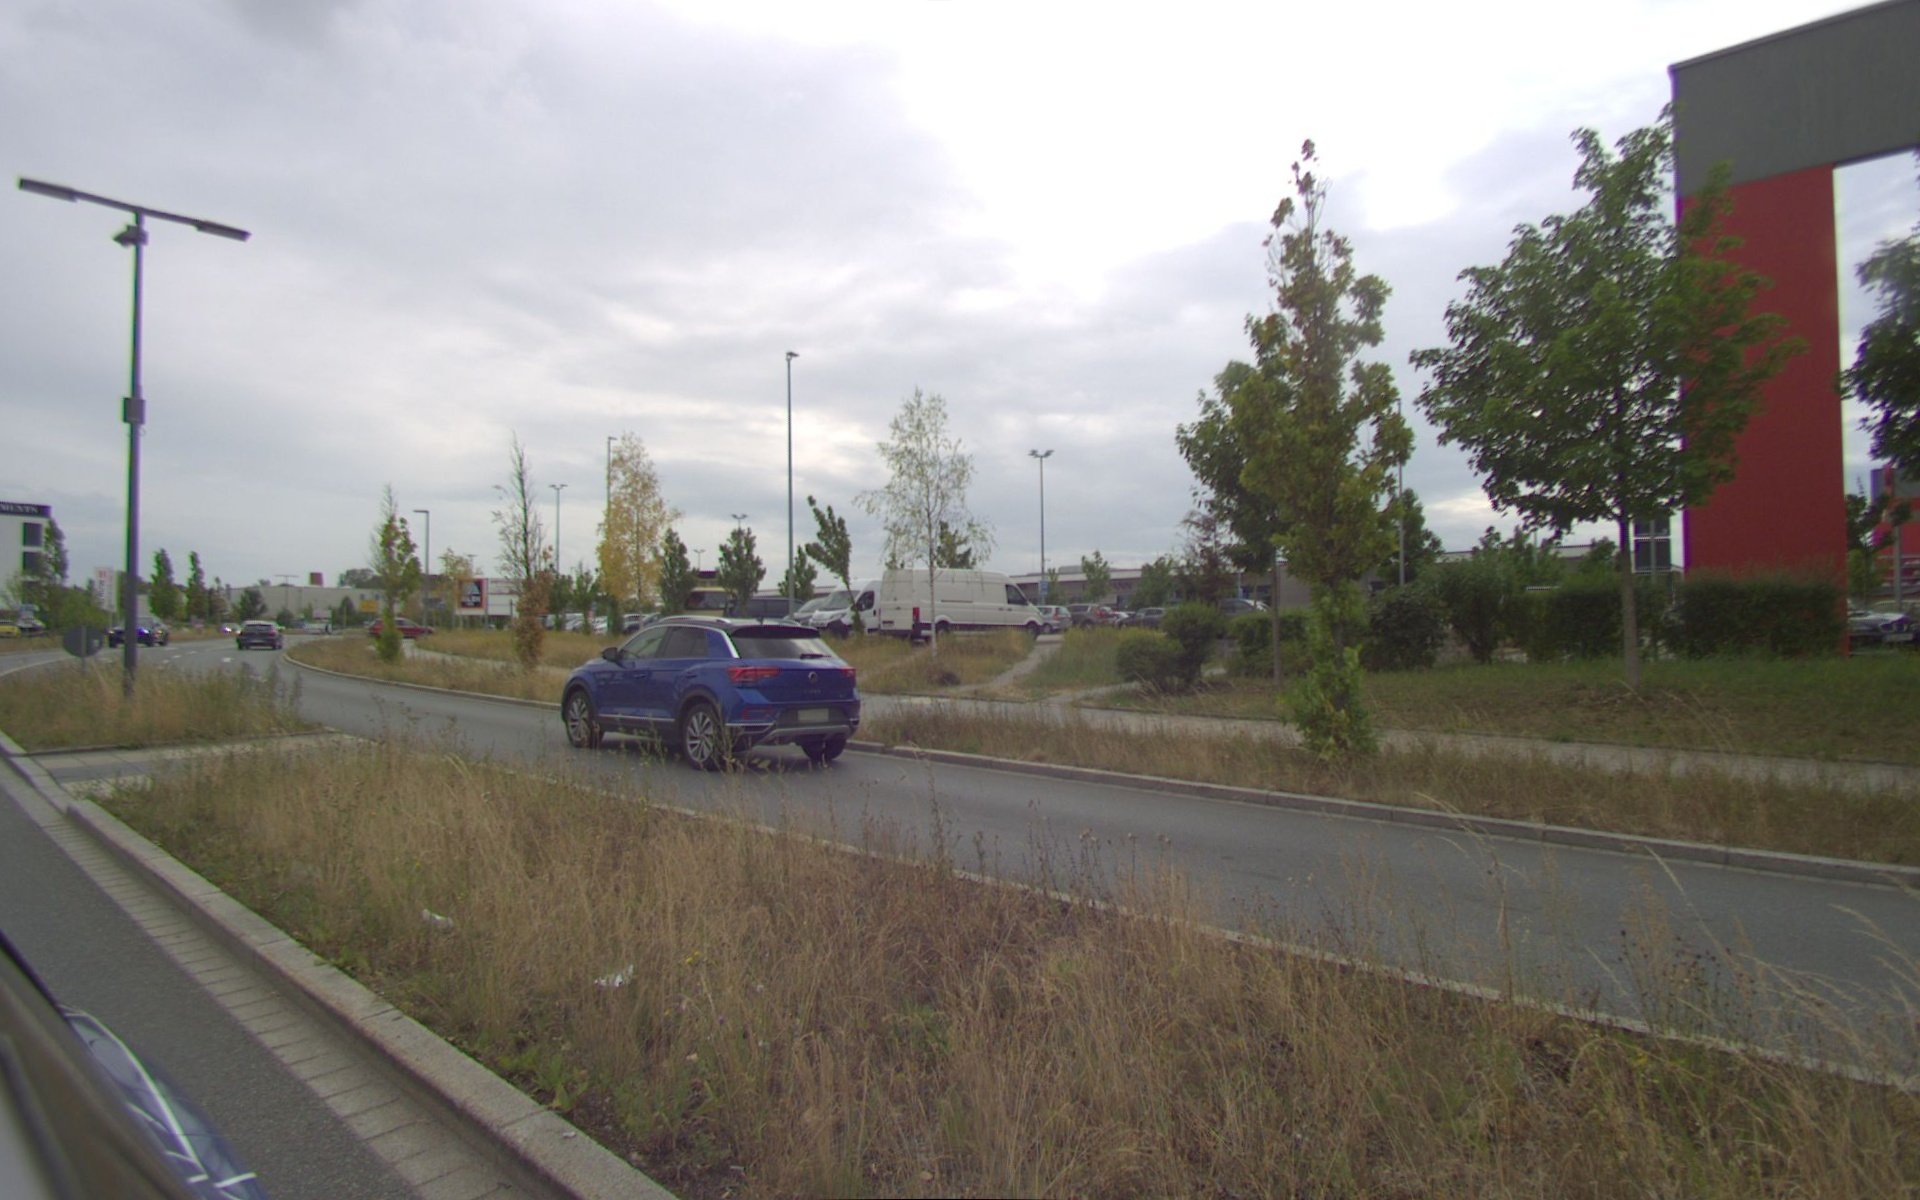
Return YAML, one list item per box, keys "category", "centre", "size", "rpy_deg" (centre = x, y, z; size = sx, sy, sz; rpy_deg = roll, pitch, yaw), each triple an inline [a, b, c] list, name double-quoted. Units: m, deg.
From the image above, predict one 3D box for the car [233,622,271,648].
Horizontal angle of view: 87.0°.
- category: "car"
  centre: [-49.329, 2.441, 70.562]
  size: [1.966, 1.683, 4.011]
  rpy_deg: [-1, -1, -33]

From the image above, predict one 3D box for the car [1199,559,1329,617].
- category: "car"
  centre: [13.256, -0.472, 44.261]
  size: [5.050, 2.391, 2.038]
  rpy_deg: [-1, 0, 38]

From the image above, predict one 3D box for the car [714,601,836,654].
- category: "car"
  centre: [-8.138, 1.224, 44.842]
  size: [4.979, 2.240, 2.067]
  rpy_deg: [1, -2, -41]

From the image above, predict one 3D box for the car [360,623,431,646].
- category: "car"
  centre: [-38.740, 2.345, 69.523]
  size: [1.732, 1.475, 3.954]
  rpy_deg: [-1, 0, 34]

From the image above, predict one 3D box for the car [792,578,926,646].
- category: "car"
  centre: [-3.753, 0.413, 38.400]
  size: [2.064, 2.391, 4.987]
  rpy_deg: [-1, 0, 42]

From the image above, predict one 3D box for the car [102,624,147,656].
- category: "car"
  centre: [-47.274, 2.271, 57.317]
  size: [1.833, 1.683, 4.008]
  rpy_deg: [-1, -2, -38]

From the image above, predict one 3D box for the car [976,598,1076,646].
- category: "car"
  centre: [3.429, 1.105, 53.061]
  size: [5.056, 2.391, 2.036]
  rpy_deg: [-1, 0, 42]

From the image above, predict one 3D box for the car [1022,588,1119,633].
- category: "car"
  centre: [5.988, 0.568, 55.303]
  size: [5.056, 2.391, 2.036]
  rpy_deg: [-1, 0, 42]

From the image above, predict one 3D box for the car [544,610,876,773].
- category: "car"
  centre: [-2.942, 0.921, 11.465]
  size: [3.999, 1.524, 1.711]
  rpy_deg: [-2, -2, 42]

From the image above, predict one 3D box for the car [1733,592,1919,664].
- category: "car"
  centre: [16.435, 0.500, 19.075]
  size: [2.861, 1.279, 1.245]
  rpy_deg: [-1, 0, 43]

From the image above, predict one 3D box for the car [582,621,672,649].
- category: "car"
  centre: [-21.004, 2.189, 63.951]
  size: [4.976, 1.669, 2.068]
  rpy_deg: [1, -2, -38]

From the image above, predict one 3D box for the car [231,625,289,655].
- category: "car"
  centre: [-37.048, 2.101, 53.615]
  size: [1.704, 1.504, 4.013]
  rpy_deg: [1, -2, -23]

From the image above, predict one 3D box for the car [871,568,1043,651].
- category: "car"
  centre: [0.030, 0.276, 35.157]
  size: [6.325, 2.644, 2.066]
  rpy_deg: [-1, 0, -45]

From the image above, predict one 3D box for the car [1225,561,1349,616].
- category: "car"
  centre: [14.975, -0.495, 46.481]
  size: [5.050, 2.391, 2.038]
  rpy_deg: [-1, 0, 38]

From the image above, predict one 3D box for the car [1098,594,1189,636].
- category: "car"
  centre: [11.008, 0.874, 60.954]
  size: [5.056, 2.391, 2.036]
  rpy_deg: [-1, 0, 42]

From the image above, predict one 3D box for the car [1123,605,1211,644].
- category: "car"
  centre: [12.851, 1.547, 63.043]
  size: [5.056, 2.391, 2.036]
  rpy_deg: [-2, -2, 42]

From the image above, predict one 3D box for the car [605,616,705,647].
- category: "car"
  centre: [-17.227, 1.795, 57.293]
  size: [4.976, 1.669, 2.068]
  rpy_deg: [1, -2, -38]
